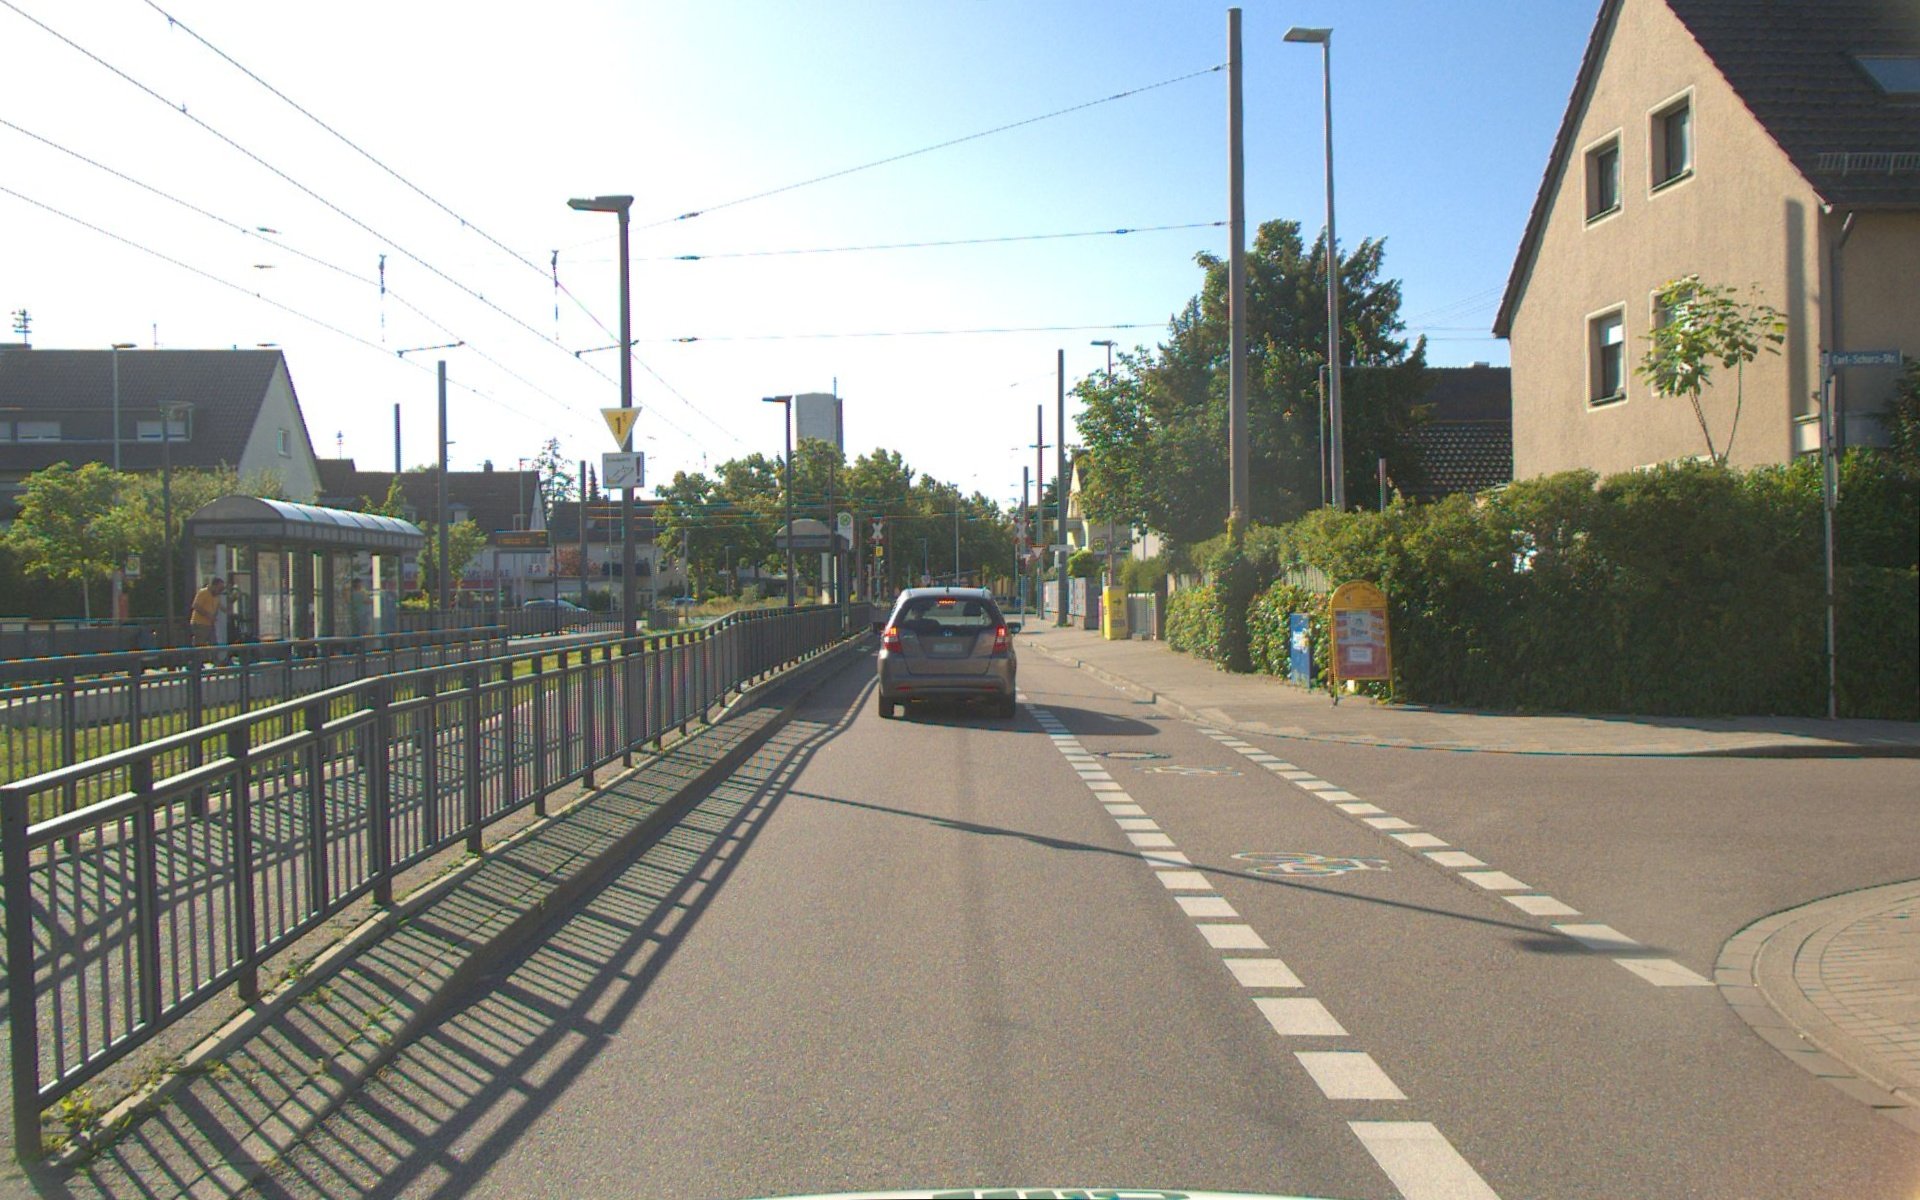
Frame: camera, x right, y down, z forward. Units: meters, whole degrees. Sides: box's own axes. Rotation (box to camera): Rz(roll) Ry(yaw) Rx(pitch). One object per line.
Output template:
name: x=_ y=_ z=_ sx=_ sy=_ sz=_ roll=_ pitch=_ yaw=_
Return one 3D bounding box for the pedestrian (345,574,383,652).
pedestrian: x=-13.431 y=0.288 z=37.268 sx=0.490 sy=1.725 sz=0.771 roll=-3 pitch=0 yaw=0

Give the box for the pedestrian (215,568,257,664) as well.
pedestrian: x=-13.206 y=0.286 z=30.160 sx=0.509 sy=1.738 sz=0.580 roll=-1 pitch=0 yaw=-5

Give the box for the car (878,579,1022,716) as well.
car: x=-0.158 y=0.536 z=20.656 sx=1.637 sy=1.562 sz=3.486 roll=0 pitch=0 yaw=-2

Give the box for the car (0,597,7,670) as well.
car: x=-25.839 y=0.820 z=40.621 sx=3.773 sy=1.838 sz=1.796 roll=0 pitch=0 yaw=-9

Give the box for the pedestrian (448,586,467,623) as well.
pedestrian: x=-24.565 y=0.203 z=80.862 sx=0.714 sy=1.792 sz=0.771 roll=-1 pitch=0 yaw=-3

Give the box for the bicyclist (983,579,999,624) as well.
bicyclist: x=1.212 y=0.074 z=63.987 sx=0.586 sy=1.731 sz=0.683 roll=0 pitch=-1 yaw=-1

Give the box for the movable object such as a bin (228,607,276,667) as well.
movable object such as a bin: x=-12.300 y=0.635 z=28.741 sx=0.535 sy=1.005 sz=0.741 roll=-1 pitch=0 yaw=-5

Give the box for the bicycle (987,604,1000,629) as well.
bicycle: x=1.291 y=0.633 z=64.299 sx=0.465 sy=0.978 sz=1.657 roll=0 pitch=0 yaw=-1

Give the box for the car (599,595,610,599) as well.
car: x=-25.689 y=-0.222 z=119.606 sx=0.684 sy=0.342 sz=0.329 roll=0 pitch=0 yaw=4

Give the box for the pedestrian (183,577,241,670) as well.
pedestrian: x=-12.919 y=0.395 z=28.573 sx=0.662 sy=1.562 sz=0.748 roll=-1 pitch=0 yaw=-5
